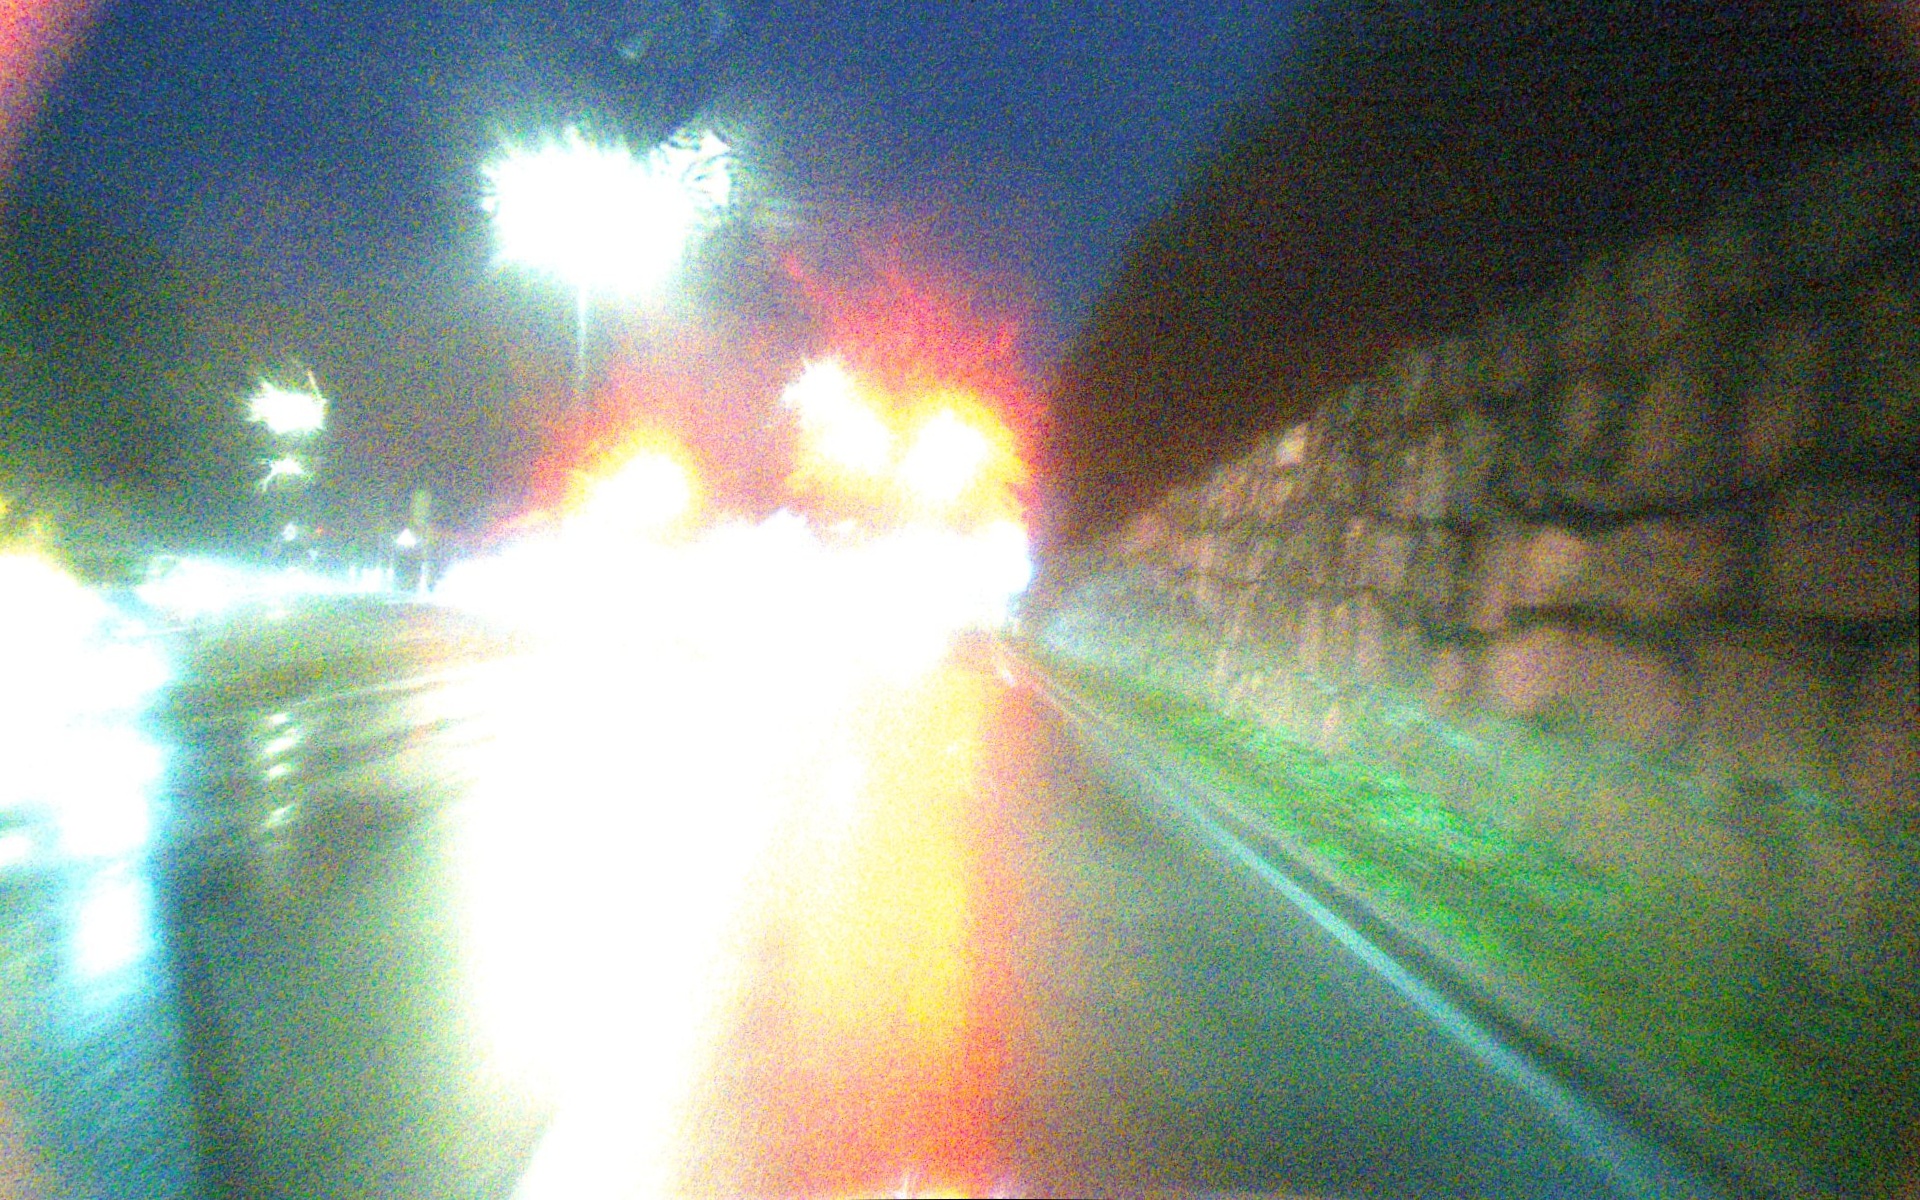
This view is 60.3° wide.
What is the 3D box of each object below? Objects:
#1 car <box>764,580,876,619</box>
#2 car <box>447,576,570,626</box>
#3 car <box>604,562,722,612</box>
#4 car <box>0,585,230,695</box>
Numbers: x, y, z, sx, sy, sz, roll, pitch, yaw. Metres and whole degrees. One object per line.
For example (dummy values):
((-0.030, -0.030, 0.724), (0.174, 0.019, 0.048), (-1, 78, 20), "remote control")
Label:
((-5.432, -0.021, 64.360), (3.886, 1.453, 1.944), (1, 0, -35), "car")
((-16.070, 0.040, 59.059), (3.910, 1.691, 1.998), (1, 0, -6), "car")
((-10.806, -0.459, 60.164), (3.928, 1.691, 1.989), (1, 0, -20), "car")
((-13.463, 0.563, 26.271), (1.954, 1.534, 4.553), (1, 1, -4), "car")
